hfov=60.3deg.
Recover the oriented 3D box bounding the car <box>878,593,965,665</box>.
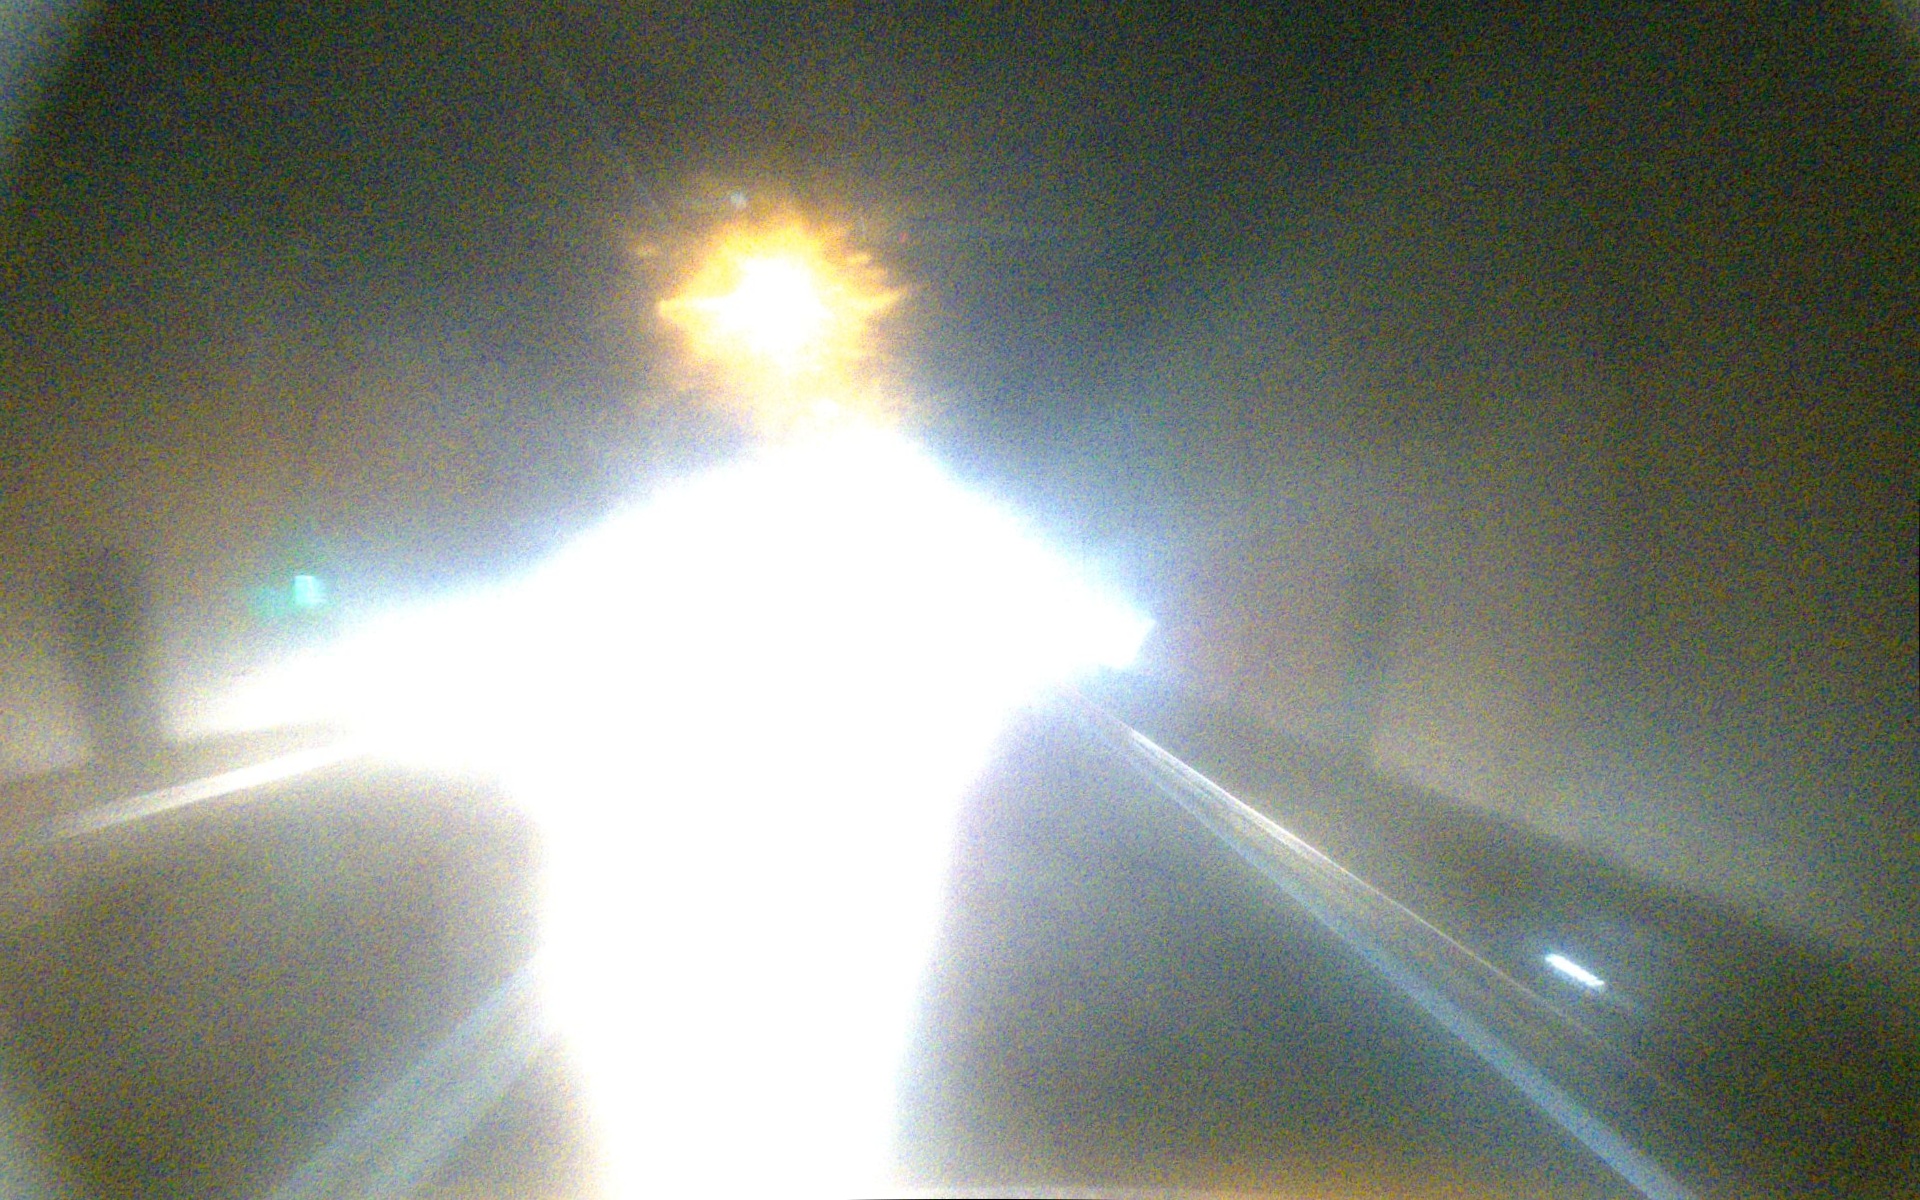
[{"bbox_3d":[-0.970,0.685,41.434,2.047,1.691,3.999,1,0,-1],"label":"car"}]

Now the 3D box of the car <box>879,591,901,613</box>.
[{"bbox_3d":[-6.567,0.154,154.958,1.953,2.049,3.999,1,0,-1],"label":"car"}]

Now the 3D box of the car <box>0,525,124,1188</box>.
[{"bbox_3d":[-3.097,0.610,2.559,1.666,1.583,3.872,1,0,-1],"label":"car"}]

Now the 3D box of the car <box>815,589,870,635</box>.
[{"bbox_3d":[-4.679,0.455,66.235,1.953,1.739,4.279,1,0,-1],"label":"car"}]

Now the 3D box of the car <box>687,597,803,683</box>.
[{"bbox_3d":[-3.769,0.666,29.500,1.656,1.447,3.624,0,0,-1],"label":"car"}]
